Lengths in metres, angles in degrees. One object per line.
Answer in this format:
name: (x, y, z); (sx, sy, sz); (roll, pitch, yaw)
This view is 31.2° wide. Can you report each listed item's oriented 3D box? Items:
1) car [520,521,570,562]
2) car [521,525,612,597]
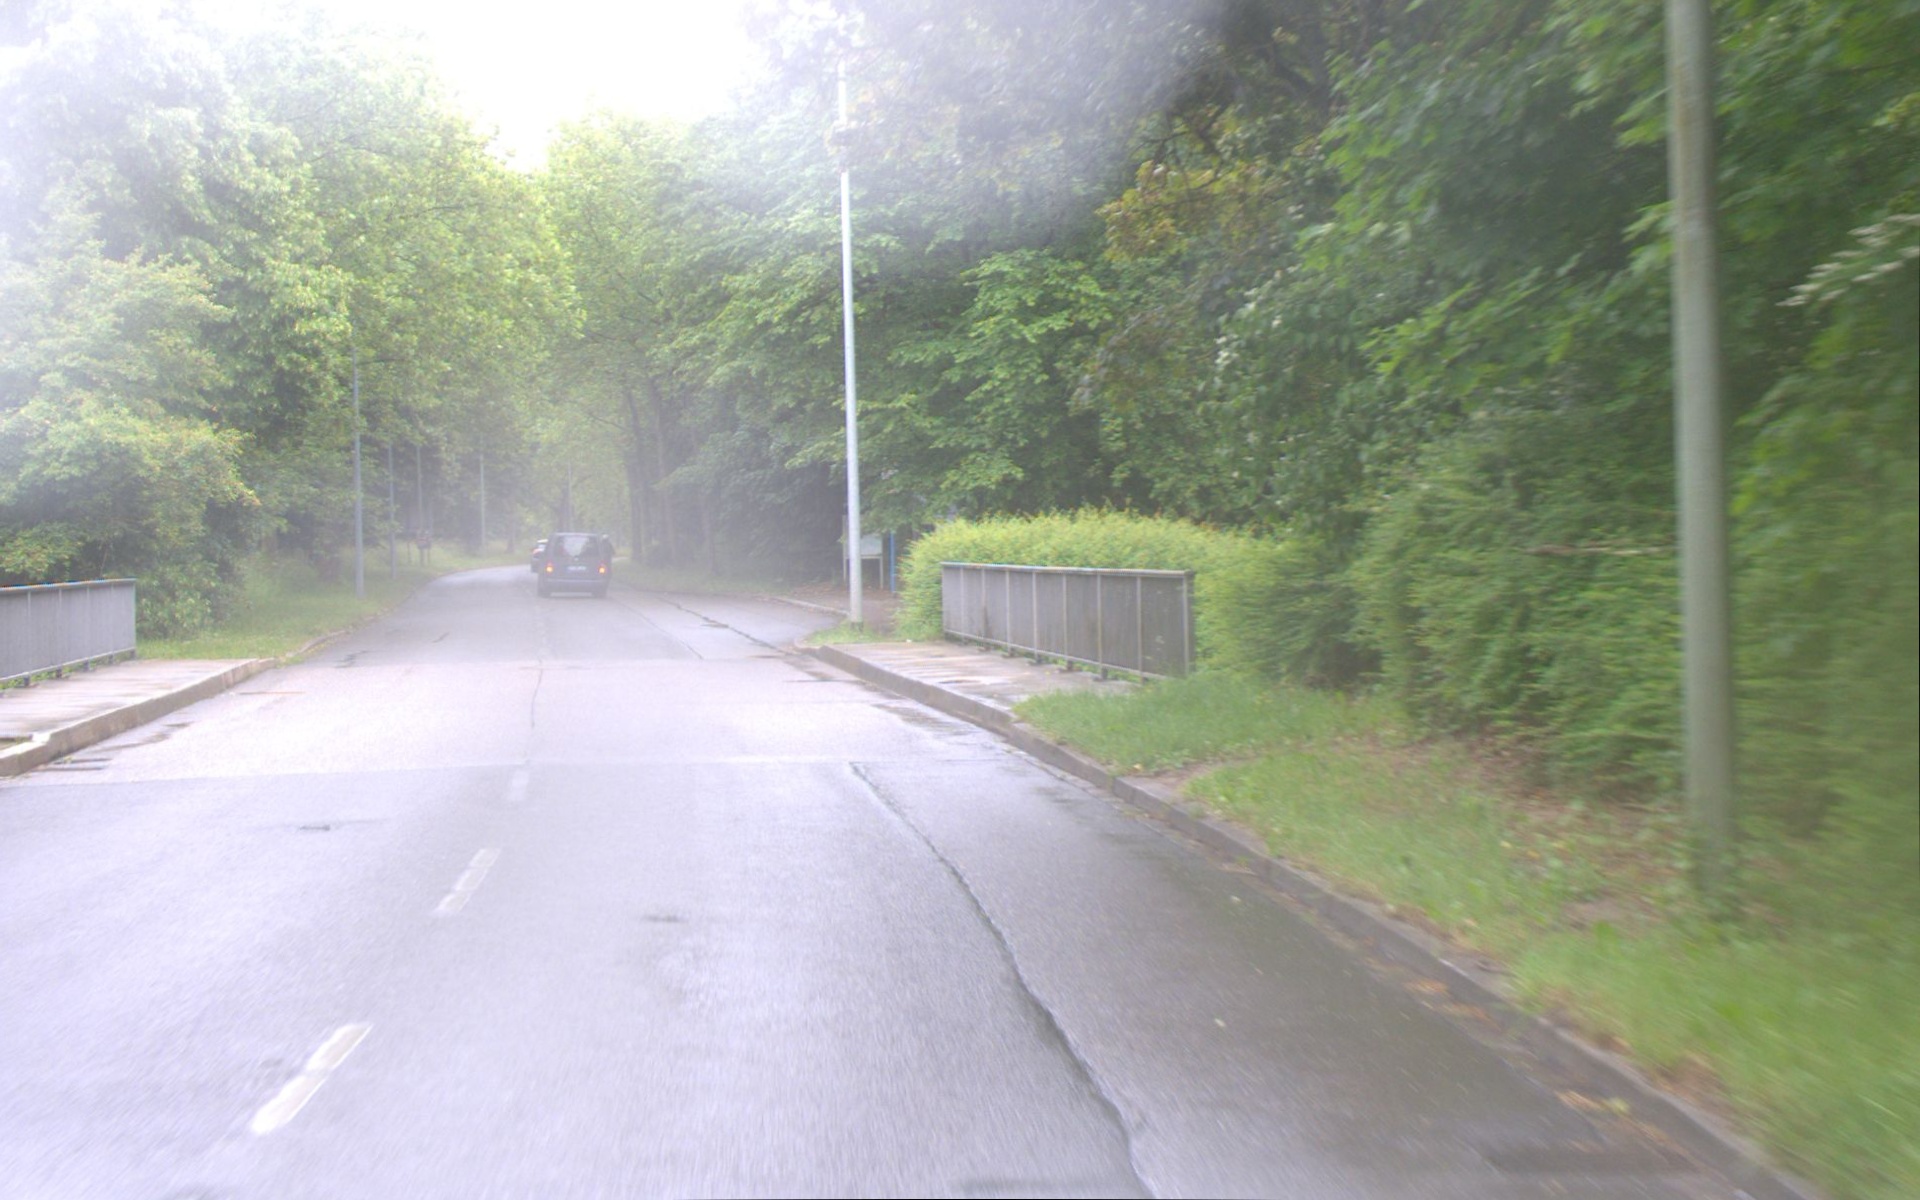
car: (-18.663, -2.638, 154.510); (1.993, 1.809, 4.001); (0, 1, -10)
car: (-11.074, -1.117, 96.438); (1.985, 1.919, 4.001); (-1, 2, -14)
